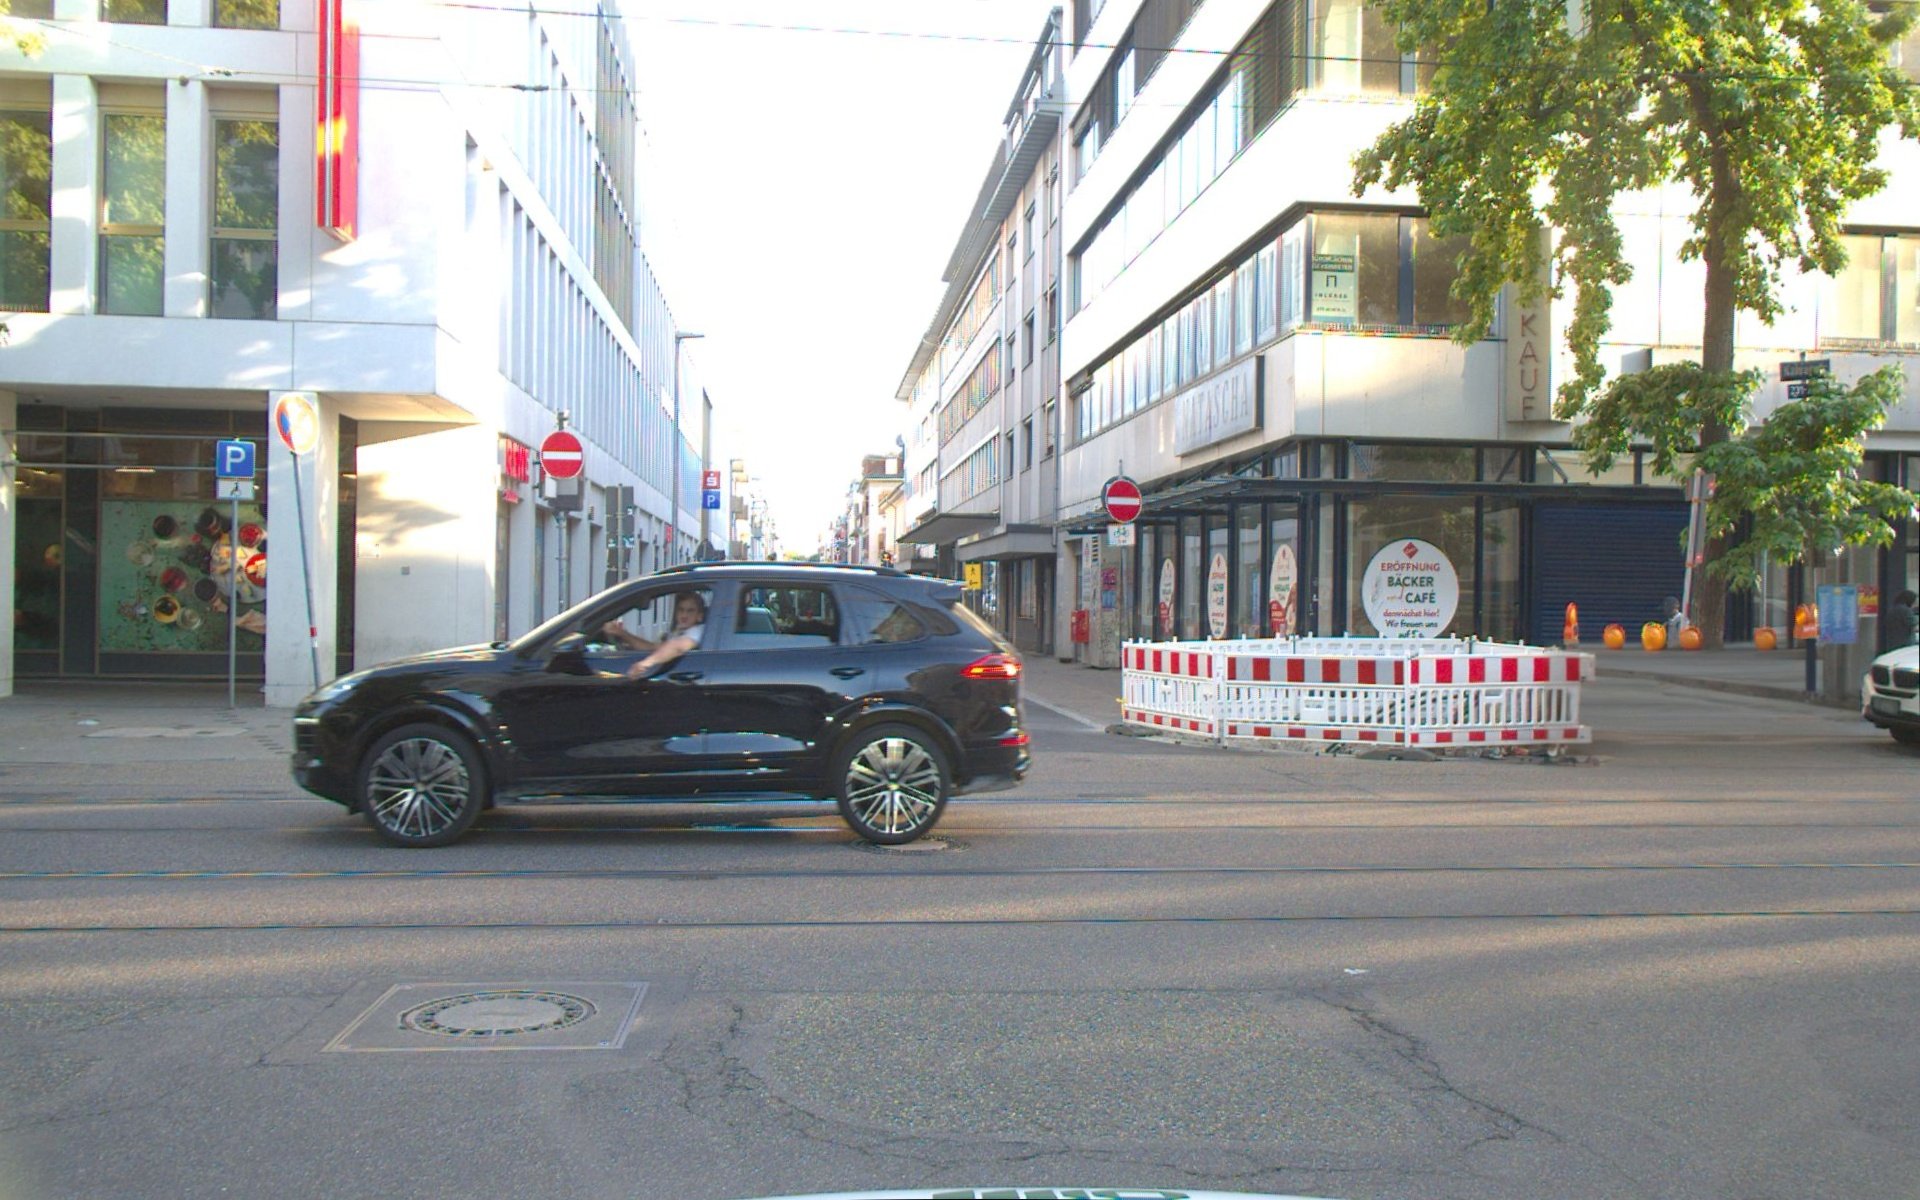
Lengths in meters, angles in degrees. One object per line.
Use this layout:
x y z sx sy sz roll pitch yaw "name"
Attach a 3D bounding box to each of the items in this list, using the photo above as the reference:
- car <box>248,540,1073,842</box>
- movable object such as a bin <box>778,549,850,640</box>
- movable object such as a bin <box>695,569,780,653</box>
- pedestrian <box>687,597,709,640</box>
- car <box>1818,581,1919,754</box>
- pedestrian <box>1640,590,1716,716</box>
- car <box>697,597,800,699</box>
-1.815 0.571 10.890 4.835 1.756 2.019 1 0 -6 "car"
-4.587 -0.169 51.683 2.115 2.710 4.567 0 0 -6 "movable object such as a bin"
-5.670 0.270 42.594 1.955 2.049 3.996 0 0 -5 "movable object such as a bin"
-9.081 0.629 57.264 0.702 1.490 0.525 0 0 -3 "pedestrian"
12.676 0.760 18.814 4.835 1.806 2.020 1 2 -6 "car"
9.154 0.664 21.104 0.692 1.576 0.578 0 0 -9 "pedestrian"
-3.545 0.742 27.440 1.599 1.577 3.136 0 0 -9 "car"
